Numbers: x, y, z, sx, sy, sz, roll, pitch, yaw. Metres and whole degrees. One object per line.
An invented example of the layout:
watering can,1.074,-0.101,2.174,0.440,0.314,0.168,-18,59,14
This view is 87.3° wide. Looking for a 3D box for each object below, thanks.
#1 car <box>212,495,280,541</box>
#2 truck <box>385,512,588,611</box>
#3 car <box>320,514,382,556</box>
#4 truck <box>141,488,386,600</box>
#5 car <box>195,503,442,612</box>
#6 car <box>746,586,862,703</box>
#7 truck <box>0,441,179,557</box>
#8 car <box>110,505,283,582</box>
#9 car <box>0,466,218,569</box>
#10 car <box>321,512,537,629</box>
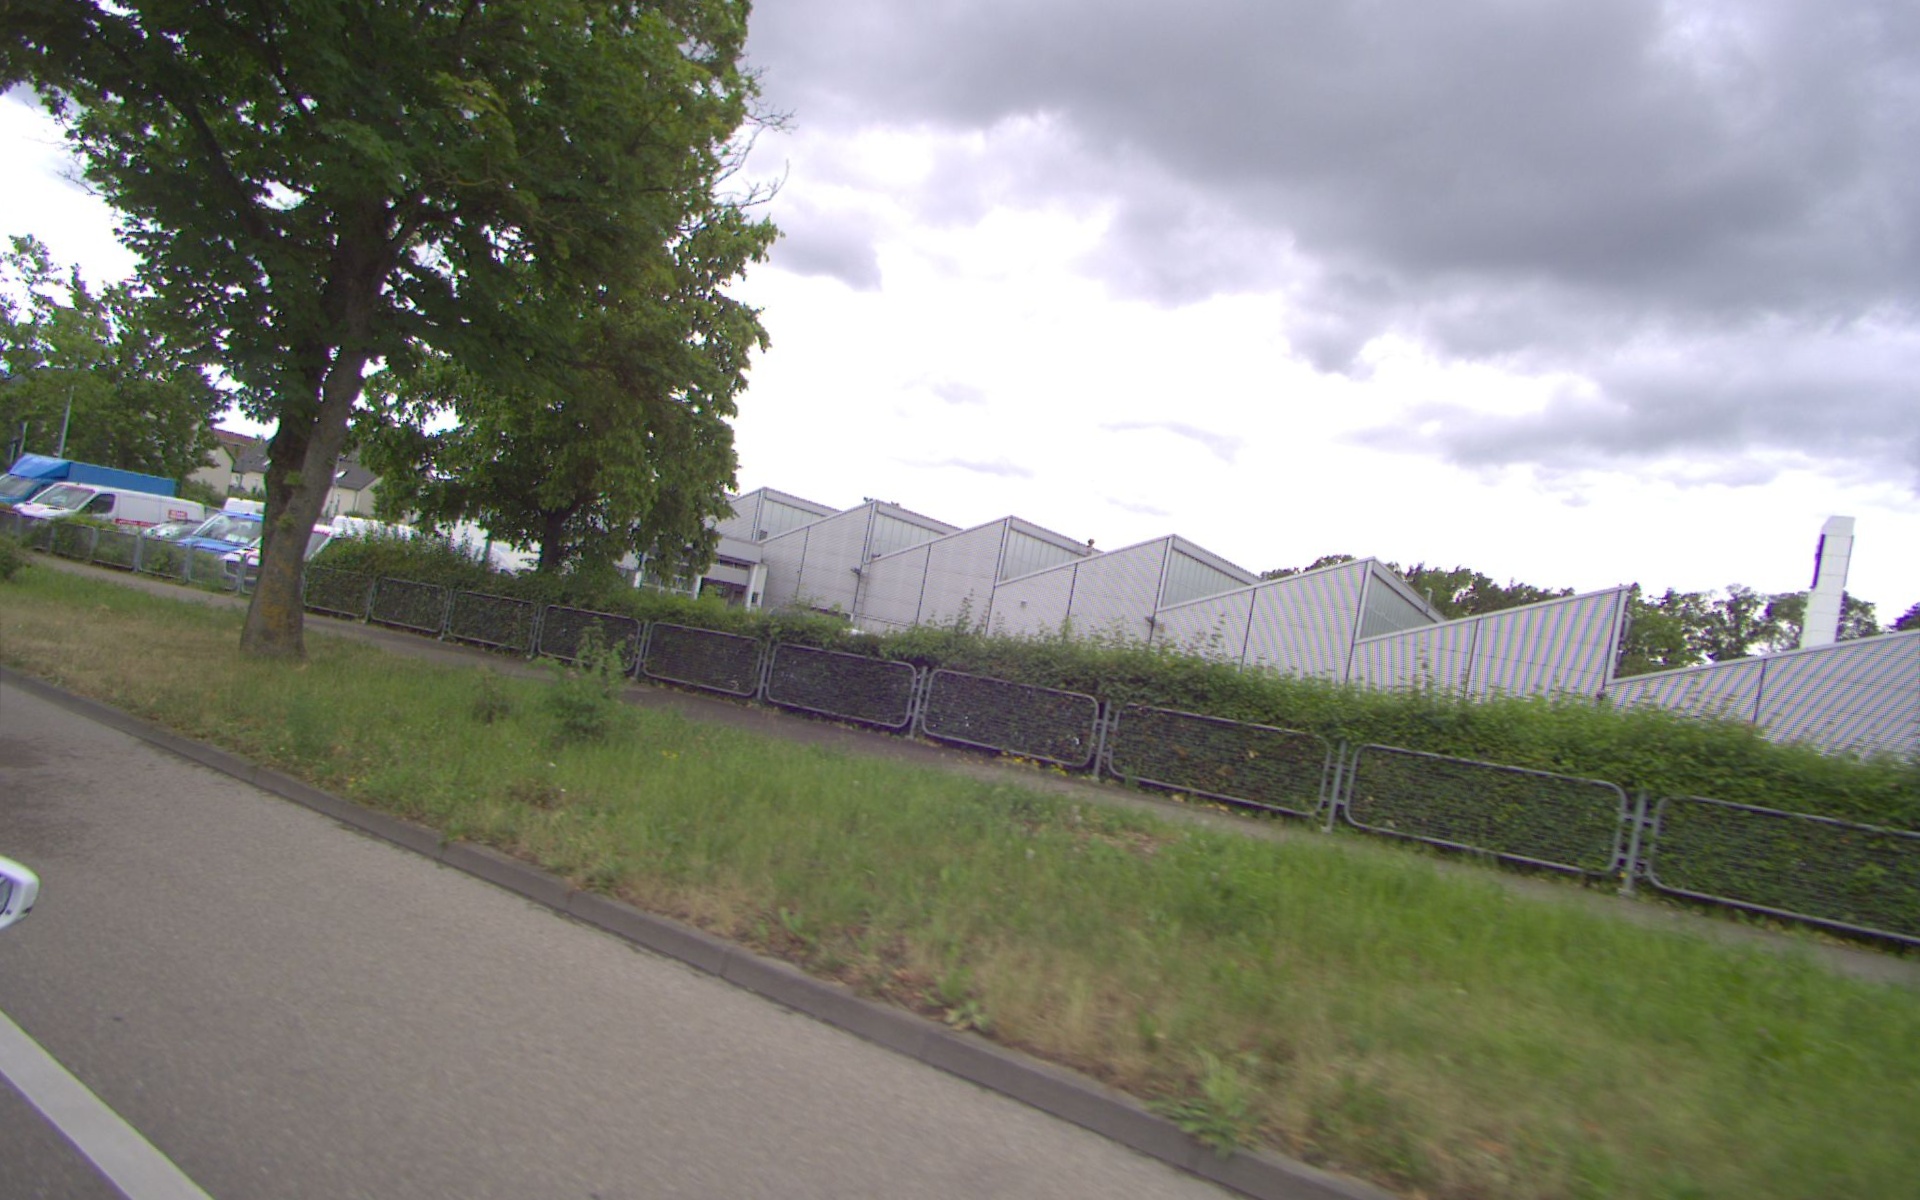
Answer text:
car,-50.365,-5.728,71.136,2.232,2.709,5.423,9,0,-20
truck,-23.377,-1.917,49.647,9.363,3.497,2.866,8,-2,19
car,-45.970,-4.859,76.063,2.229,2.709,5.432,9,0,-14
truck,-19.839,-1.446,29.181,2.205,2.236,6.263,8,-3,3
car,-16.935,-1.000,27.092,2.032,1.978,5.838,8,-3,9
car,-3.470,0.969,22.493,2.037,2.056,4.574,9,-3,-8
truck,-35.477,-3.961,39.795,2.569,3.517,7.195,8,-2,7
car,-23.394,-1.676,31.047,1.963,1.647,4.006,8,-3,4
car,-29.478,-2.725,34.809,2.317,2.392,6.041,8,-3,8
car,-13.310,-0.607,25.715,2.032,2.211,5.270,8,-3,6
